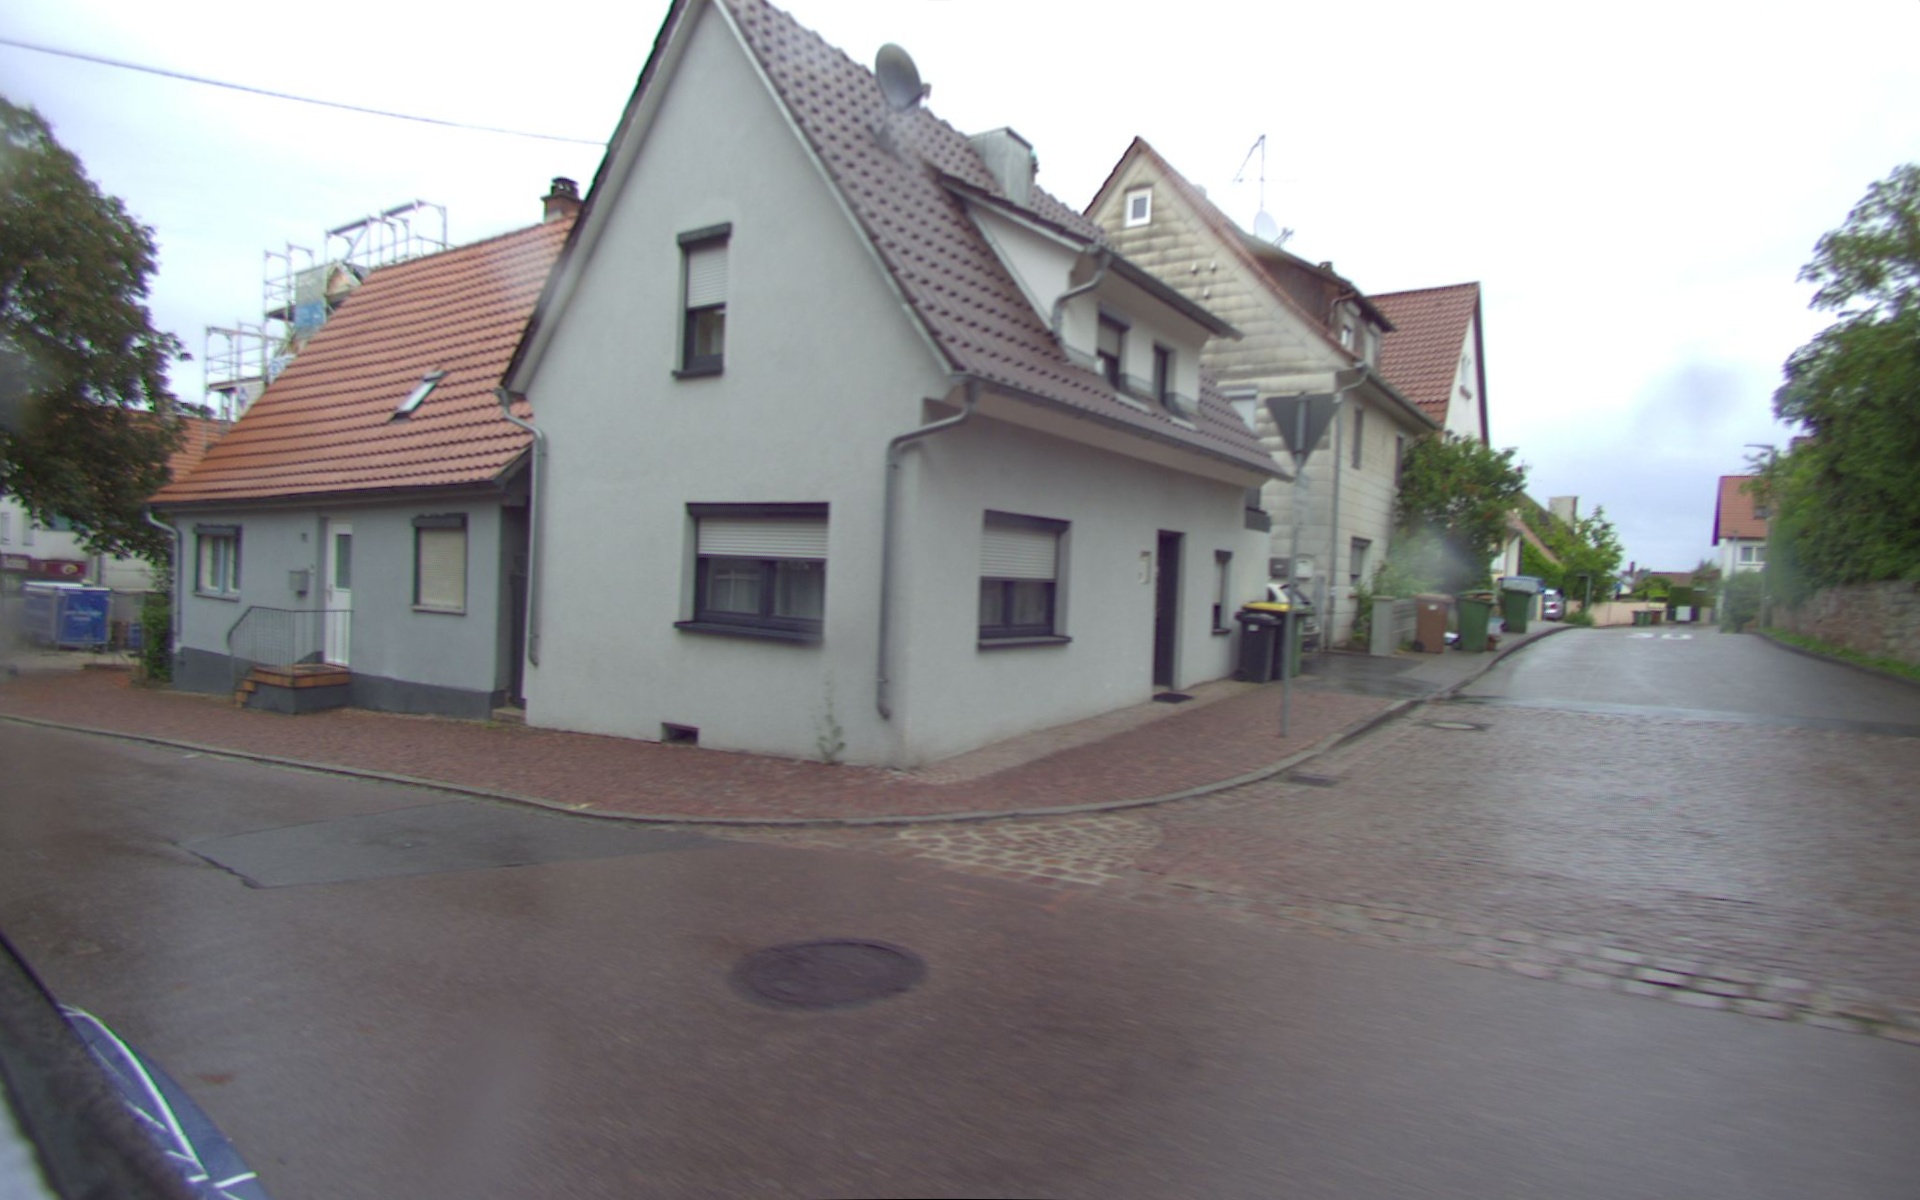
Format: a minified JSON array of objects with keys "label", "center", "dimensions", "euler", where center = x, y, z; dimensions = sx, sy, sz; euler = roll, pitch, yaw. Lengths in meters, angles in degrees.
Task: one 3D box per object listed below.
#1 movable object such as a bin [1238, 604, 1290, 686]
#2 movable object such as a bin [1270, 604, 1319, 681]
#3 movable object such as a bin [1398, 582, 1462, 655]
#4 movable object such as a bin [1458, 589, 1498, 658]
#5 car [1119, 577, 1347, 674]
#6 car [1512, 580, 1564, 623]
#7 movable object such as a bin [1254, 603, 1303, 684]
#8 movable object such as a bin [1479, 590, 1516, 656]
[{"label":"movable object such as a bin","center":[4.173,0.604,13.889],"dimensions":[0.504,1.068,0.518],"euler":[3,3,35]},{"label":"movable object such as a bin","center":[4.896,0.608,14.803],"dimensions":[0.518,1.078,0.510],"euler":[3,2,35]},{"label":"movable object such as a bin","center":[8.689,0.329,18.703],"dimensions":[0.876,1.249,0.745],"euler":[5,3,35]},{"label":"movable object such as a bin","center":[9.812,0.430,19.161],"dimensions":[0.628,1.259,0.628],"euler":[2,1,30]},{"label":"car","center":[4.604,0.356,17.221],"dimensions":[3.448,1.462,1.549],"euler":[1,3,36]},{"label":"car","center":[27.095,0.068,47.393],"dimensions":[1.993,1.908,3.957],"euler":[0,0,31]},{"label":"movable object such as a bin","center":[4.512,0.600,14.314],"dimensions":[0.496,1.077,0.508],"euler":[3,3,35]},{"label":"movable object such as a bin","center":[10.492,0.433,19.751],"dimensions":[0.600,1.247,0.678],"euler":[2,1,30]}]
